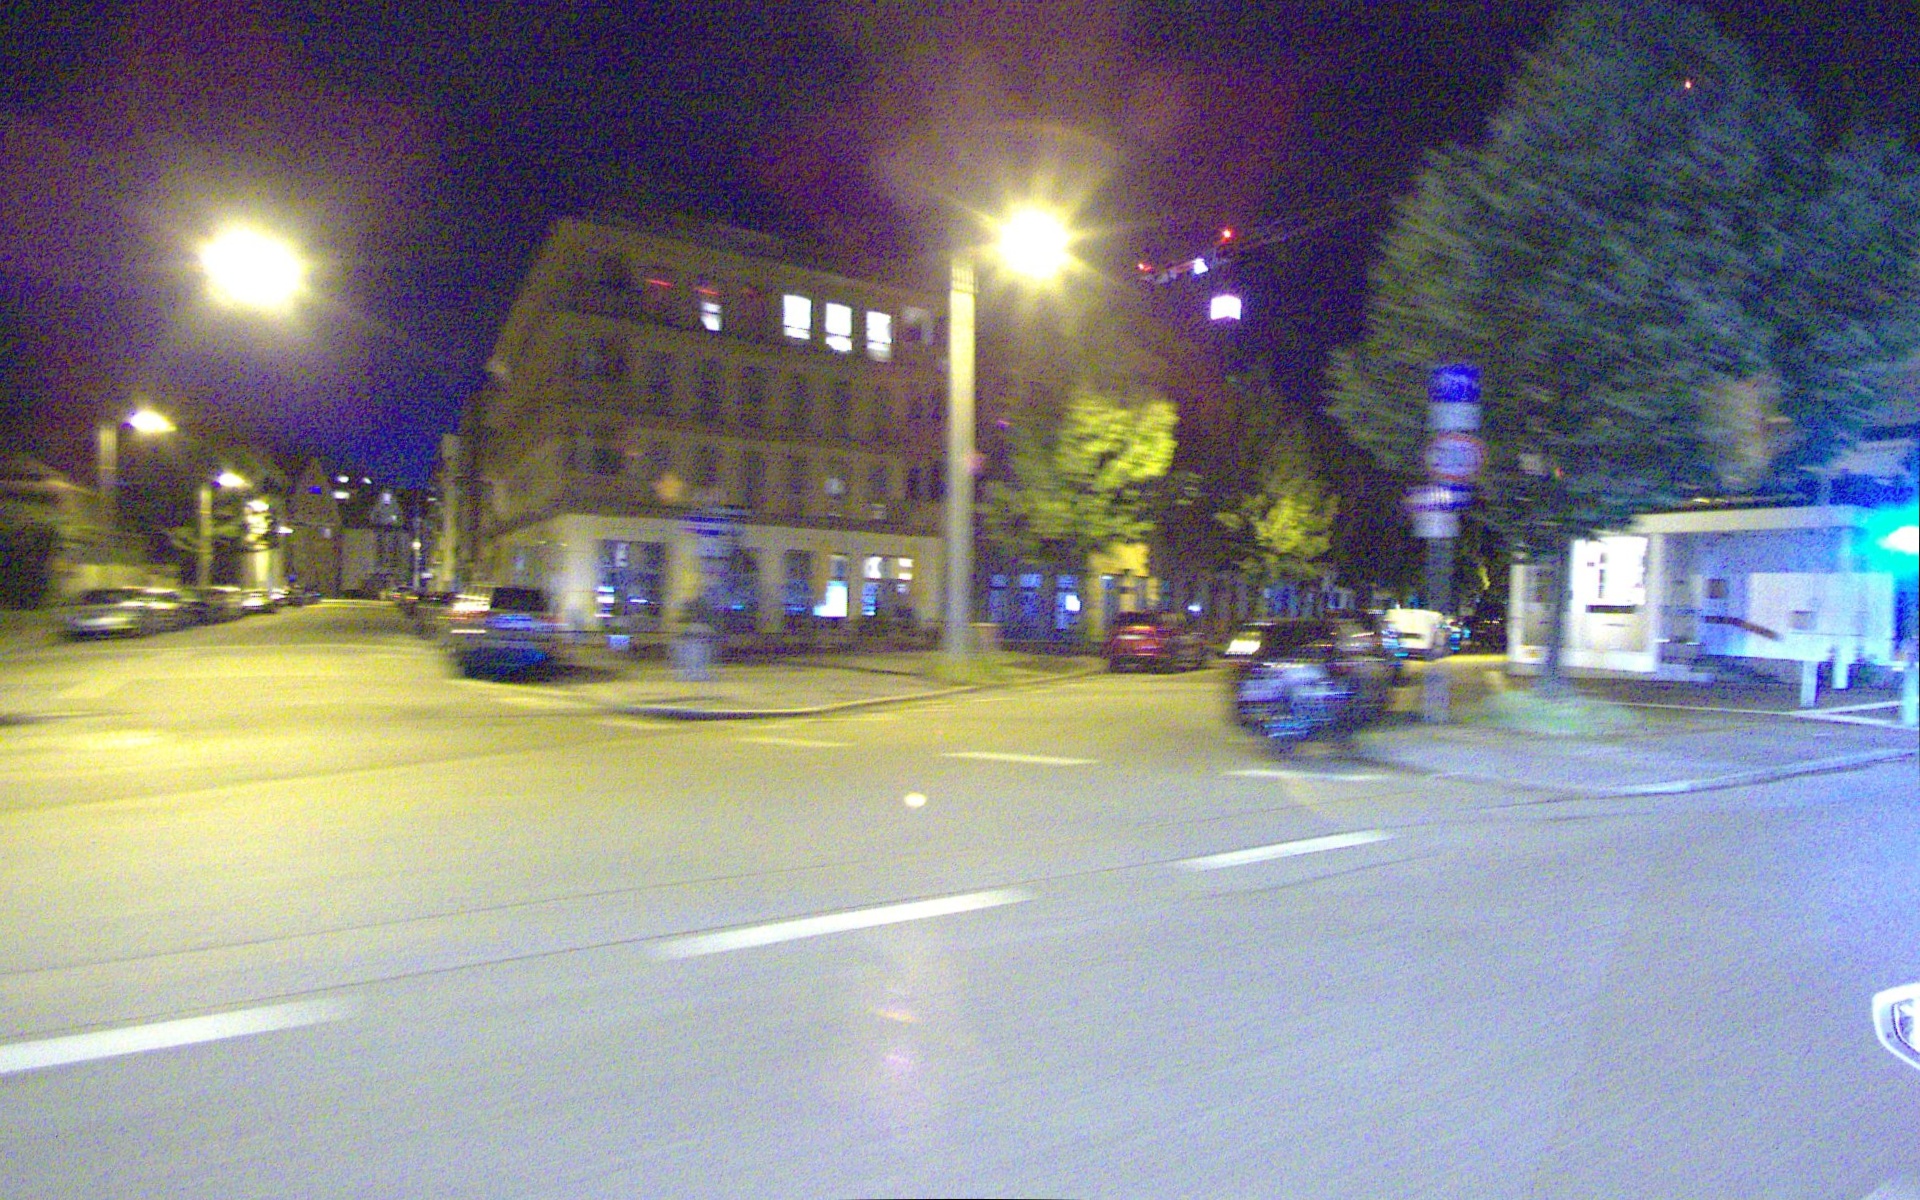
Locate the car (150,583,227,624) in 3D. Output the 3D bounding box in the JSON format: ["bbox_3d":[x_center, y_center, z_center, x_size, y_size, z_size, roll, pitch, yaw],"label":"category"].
[{"bbox_3d":[-29.728,0.137,38.812,1.842,1.489,3.966,2,-1,-31],"label":"car"}]

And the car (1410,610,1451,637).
[{"bbox_3d":[32.690,1.630,69.709,1.873,1.758,3.986,1,-1,36],"label":"car"}]

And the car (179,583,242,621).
[{"bbox_3d":[-32.036,0.088,43.015,1.779,1.539,3.654,2,-1,-31],"label":"car"}]

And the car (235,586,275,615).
[{"bbox_3d":[-43.017,0.035,61.366,1.677,1.636,3.660,2,-1,-31],"label":"car"}]

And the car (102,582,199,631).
[{"bbox_3d":[-27.076,0.184,33.733,1.806,1.525,3.970,0,0,-28],"label":"car"}]

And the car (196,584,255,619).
[{"bbox_3d":[-34.739,0.086,47.576,1.842,1.557,3.966,2,-1,-31],"label":"car"}]

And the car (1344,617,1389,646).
[{"bbox_3d":[22.503,1.728,55.551,1.692,1.516,3.574,1,0,33],"label":"car"}]

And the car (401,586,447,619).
[{"bbox_3d":[-30.188,0.148,56.508,1.912,1.737,4.380,2,-1,-33],"label":"car"}]

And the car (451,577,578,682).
[{"bbox_3d":[-8.861,0.508,19.776,1.933,1.777,4.321,3,0,-28],"label":"car"}]

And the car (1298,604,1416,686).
[{"bbox_3d":[9.580,1.014,24.063,1.886,1.666,4.102,4,1,31],"label":"car"}]

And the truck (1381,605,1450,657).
[{"bbox_3d":[17.382,1.172,38.246,1.863,1.831,4.105,1,-1,31],"label":"truck"}]

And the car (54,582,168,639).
[{"bbox_3d":[-24.324,0.272,28.926,1.882,1.525,3.966,0,0,-31],"label":"car"}]

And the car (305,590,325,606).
[{"bbox_3d":[-67.437,-0.189,105.025,1.570,1.594,3.540,2,-1,-31],"label":"car"}]

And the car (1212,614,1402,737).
[{"bbox_3d":[5.152,0.956,14.464,1.858,1.443,4.722,0,-1,28],"label":"car"}]

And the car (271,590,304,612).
[{"bbox_3d":[-51.835,0.071,77.427,1.879,1.568,3.761,2,-1,-31],"label":"car"}]

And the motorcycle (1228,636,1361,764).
[{"bbox_3d":[3.583,0.998,10.641,0.565,1.195,2.021,1,0,42],"label":"motorcycle"}]

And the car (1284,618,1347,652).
[{"bbox_3d":[16.613,1.577,46.806,1.855,1.469,3.988,1,0,34],"label":"car"}]

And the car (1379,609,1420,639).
[{"bbox_3d":[28.254,1.490,64.566,1.770,1.833,3.989,1,0,33],"label":"car"}]

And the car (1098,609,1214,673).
[{"bbox_3d":[5.465,1.102,27.620,1.810,1.634,4.251,-1,-2,31],"label":"car"}]

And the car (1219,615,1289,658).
[{"bbox_3d":[11.112,1.333,37.853,1.579,1.508,3.547,0,-1,33],"label":"car"}]

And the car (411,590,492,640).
[{"bbox_3d":[-16.569,0.475,32.651,1.903,1.475,4.174,2,-1,-33],"label":"car"}]

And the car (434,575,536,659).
[{"bbox_3d":[-11.778,0.375,24.763,1.938,1.777,4.320,5,-1,-28],"label":"car"}]
